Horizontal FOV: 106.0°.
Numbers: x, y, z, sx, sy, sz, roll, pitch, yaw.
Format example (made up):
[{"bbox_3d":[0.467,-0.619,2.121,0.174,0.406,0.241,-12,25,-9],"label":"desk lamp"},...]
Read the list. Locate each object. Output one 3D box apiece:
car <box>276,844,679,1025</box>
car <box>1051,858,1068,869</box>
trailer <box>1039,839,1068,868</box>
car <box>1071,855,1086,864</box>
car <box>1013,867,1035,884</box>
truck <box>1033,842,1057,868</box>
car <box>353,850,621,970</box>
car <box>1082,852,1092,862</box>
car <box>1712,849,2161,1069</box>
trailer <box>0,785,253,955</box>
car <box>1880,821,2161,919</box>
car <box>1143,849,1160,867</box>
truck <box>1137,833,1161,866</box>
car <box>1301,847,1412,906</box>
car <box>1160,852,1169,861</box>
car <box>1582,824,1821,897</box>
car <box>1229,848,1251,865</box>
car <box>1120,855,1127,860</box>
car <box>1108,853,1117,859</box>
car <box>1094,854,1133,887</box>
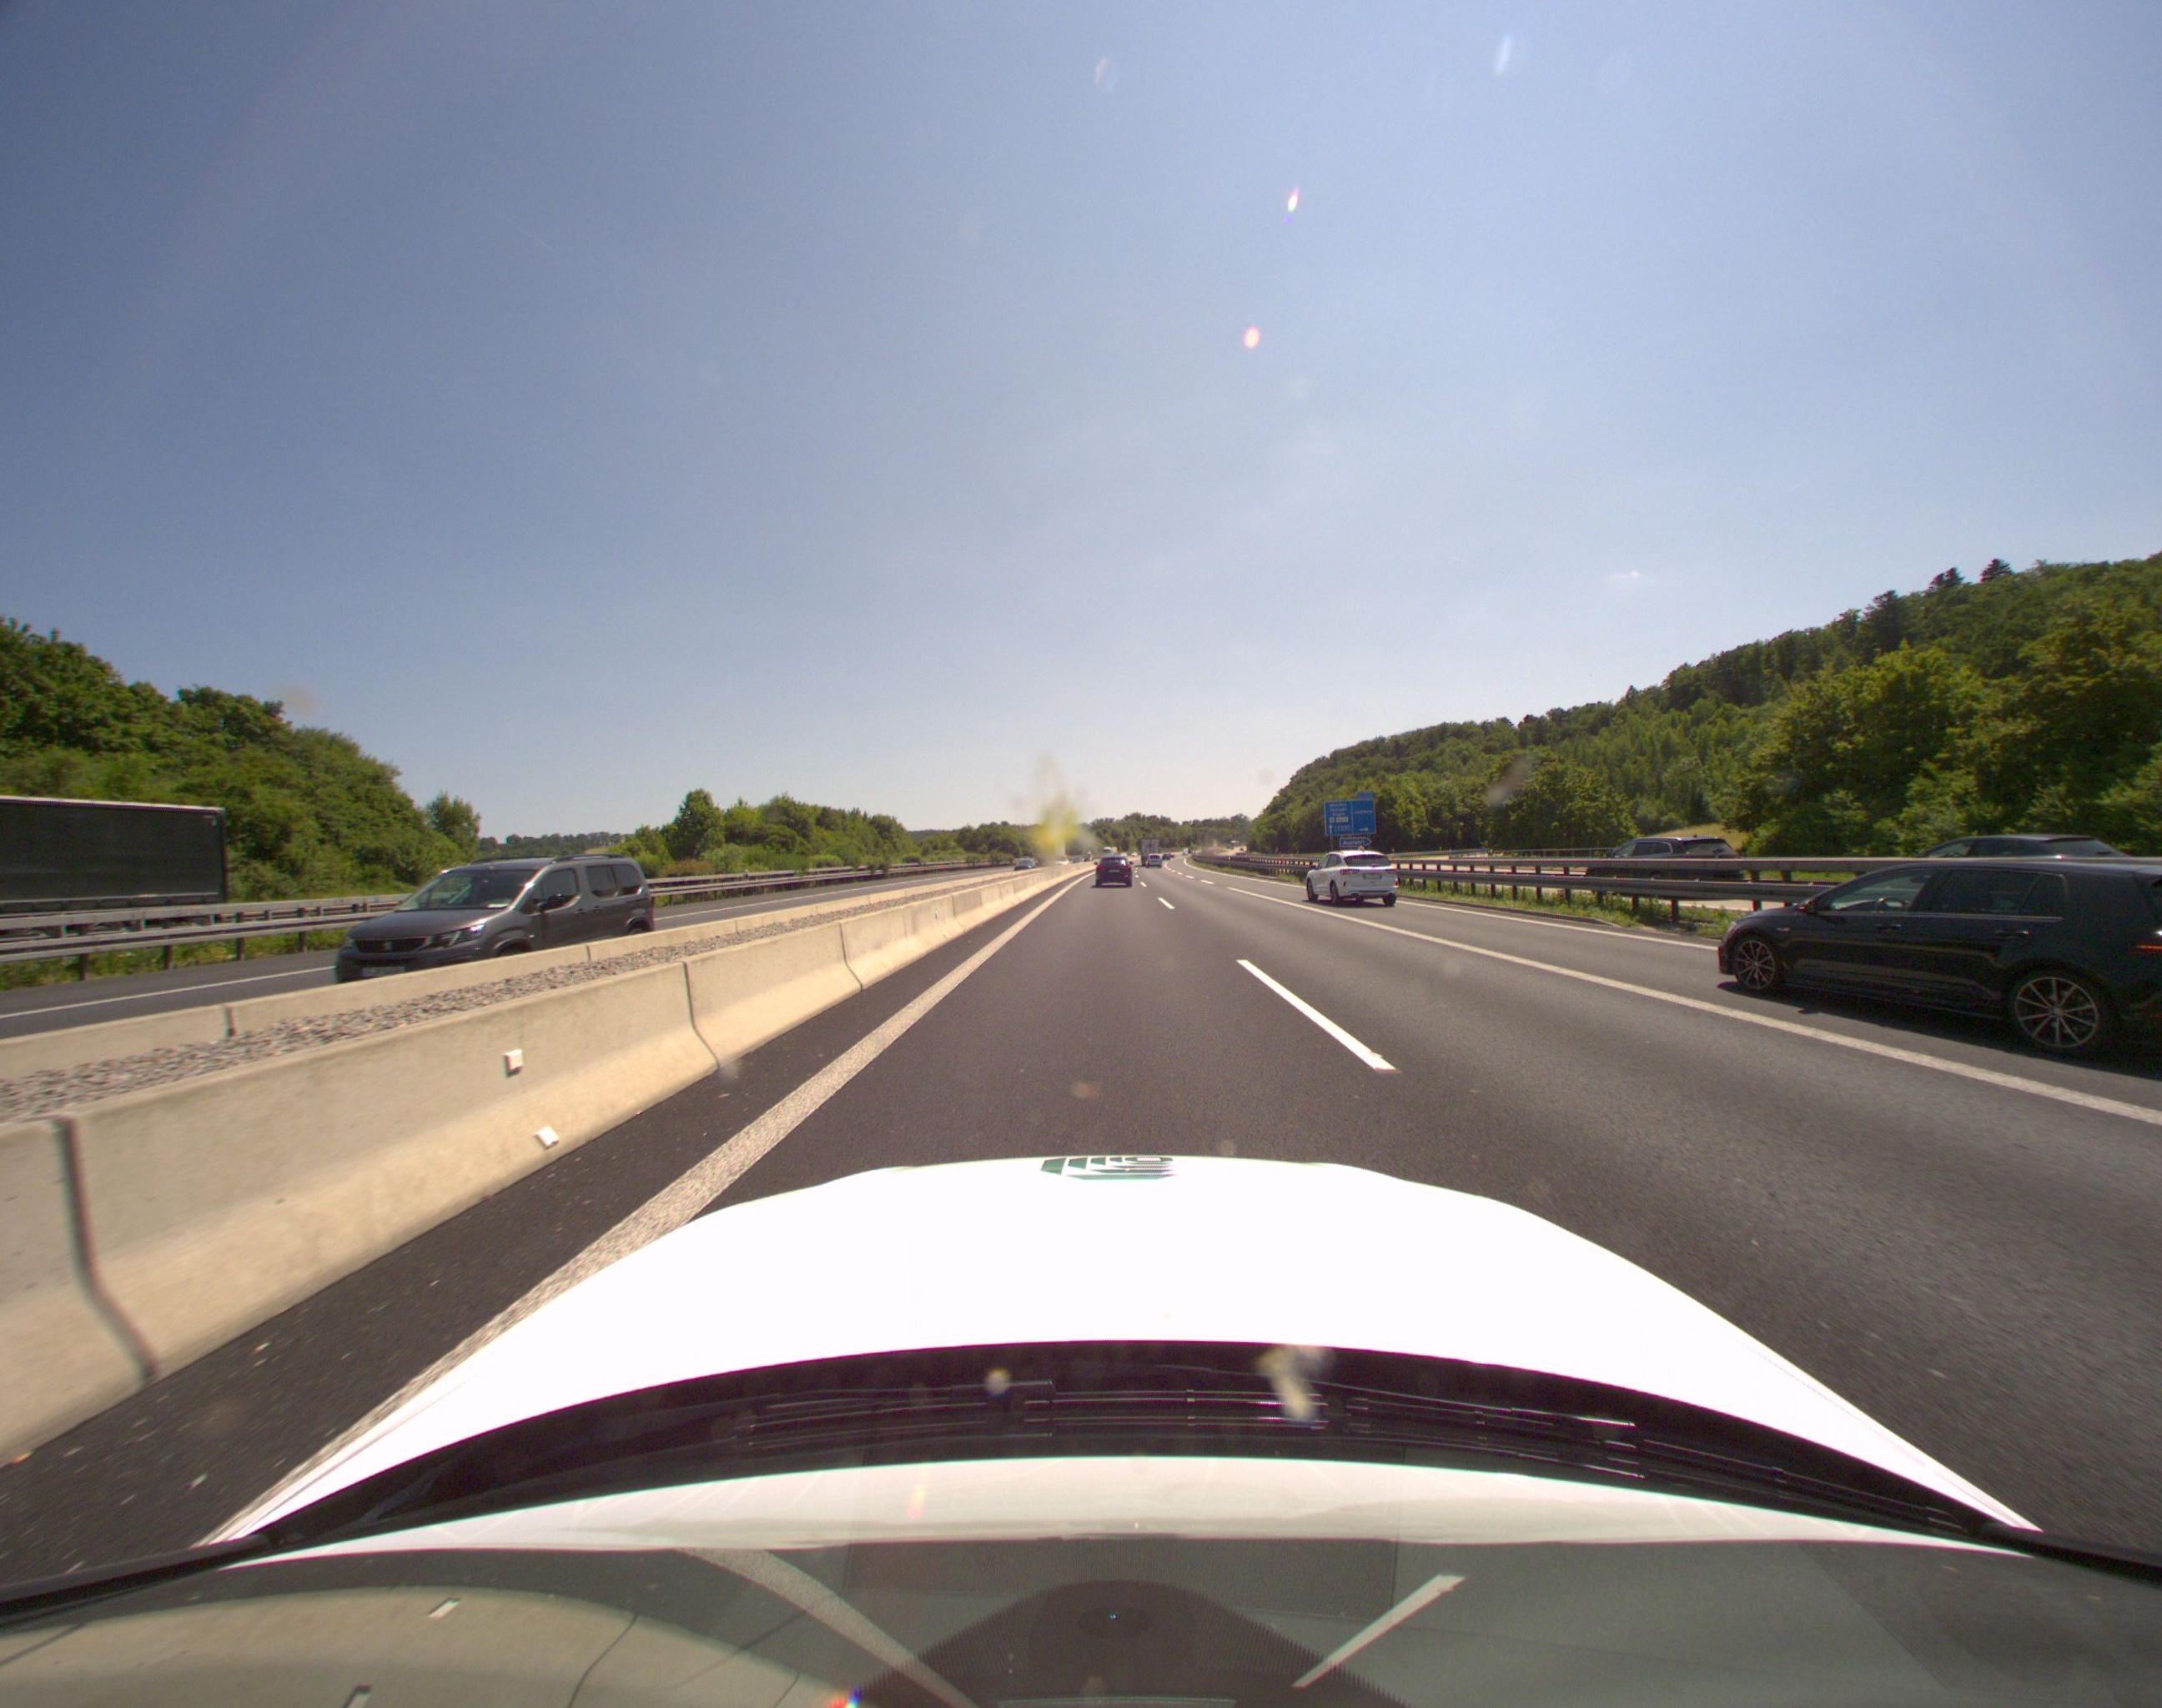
[{"bbox_3d":[-8.062,0.932,11.706,2.044,2.014,4.955,-1,-1,1],"label":"car"},{"bbox_3d":[-2.818,1.235,108.345,1.986,1.374,4.665,-1,0,2],"label":"car"},{"bbox_3d":[-4.325,-0.005,130.742,2.704,4.312,12.845,-1,-1,6],"label":"trailer"},{"bbox_3d":[-0.410,0.812,128.867,1.983,1.350,4.265,-1,-1,6],"label":"car"},{"bbox_3d":[-5.441,2.038,77.862,1.723,1.536,4.612,-1,-1,0],"label":"car"},{"bbox_3d":[-5.311,0.182,121.906,2.735,3.754,4.875,-1,-1,7],"label":"truck"},{"bbox_3d":[-11.340,0.969,16.059,1.987,2.014,4.484,-1,-1,0],"label":"car"},{"bbox_3d":[1.342,0.718,180.521,1.985,2.081,4.708,-1,0,4],"label":"car"},{"bbox_3d":[7.953,0.689,7.133,1.788,1.435,3.966,-1,-1,0],"label":"car"},{"bbox_3d":[-27.482,0.390,18.485,3.208,4.045,13.542,-1,-1,2],"label":"trailer"},{"bbox_3d":[19.416,0.281,16.152,1.987,1.662,5.226,-1,-1,0],"label":"car"},{"bbox_3d":[9.021,0.497,103.912,1.985,2.013,4.005,-4,0,4],"label":"car"},{"bbox_3d":[9.974,-0.590,118.455,3.015,4.418,12.042,-1,-1,7],"label":"truck"},{"bbox_3d":[8.484,0.672,25.539,1.987,1.662,4.468,-1,-1,1],"label":"car"},{"bbox_3d":[19.136,0.577,186.422,1.983,2.014,4.007,-1,-1,6],"label":"car"},{"bbox_3d":[16.081,0.175,21.638,1.988,1.662,5.623,-1,-1,-1],"label":"car"},{"bbox_3d":[20.005,0.276,102.529,1.985,2.013,4.003,-3,0,3],"label":"car"},{"bbox_3d":[13.412,1.198,256.049,1.983,1.543,5.050,-1,-1,6],"label":"car"},{"bbox_3d":[8.664,0.542,226.037,1.857,1.666,4.676,-1,-1,10],"label":"car"},{"bbox_3d":[1.612,0.809,41.410,1.774,1.577,3.998,-1,-1,-1],"label":"car"}]
